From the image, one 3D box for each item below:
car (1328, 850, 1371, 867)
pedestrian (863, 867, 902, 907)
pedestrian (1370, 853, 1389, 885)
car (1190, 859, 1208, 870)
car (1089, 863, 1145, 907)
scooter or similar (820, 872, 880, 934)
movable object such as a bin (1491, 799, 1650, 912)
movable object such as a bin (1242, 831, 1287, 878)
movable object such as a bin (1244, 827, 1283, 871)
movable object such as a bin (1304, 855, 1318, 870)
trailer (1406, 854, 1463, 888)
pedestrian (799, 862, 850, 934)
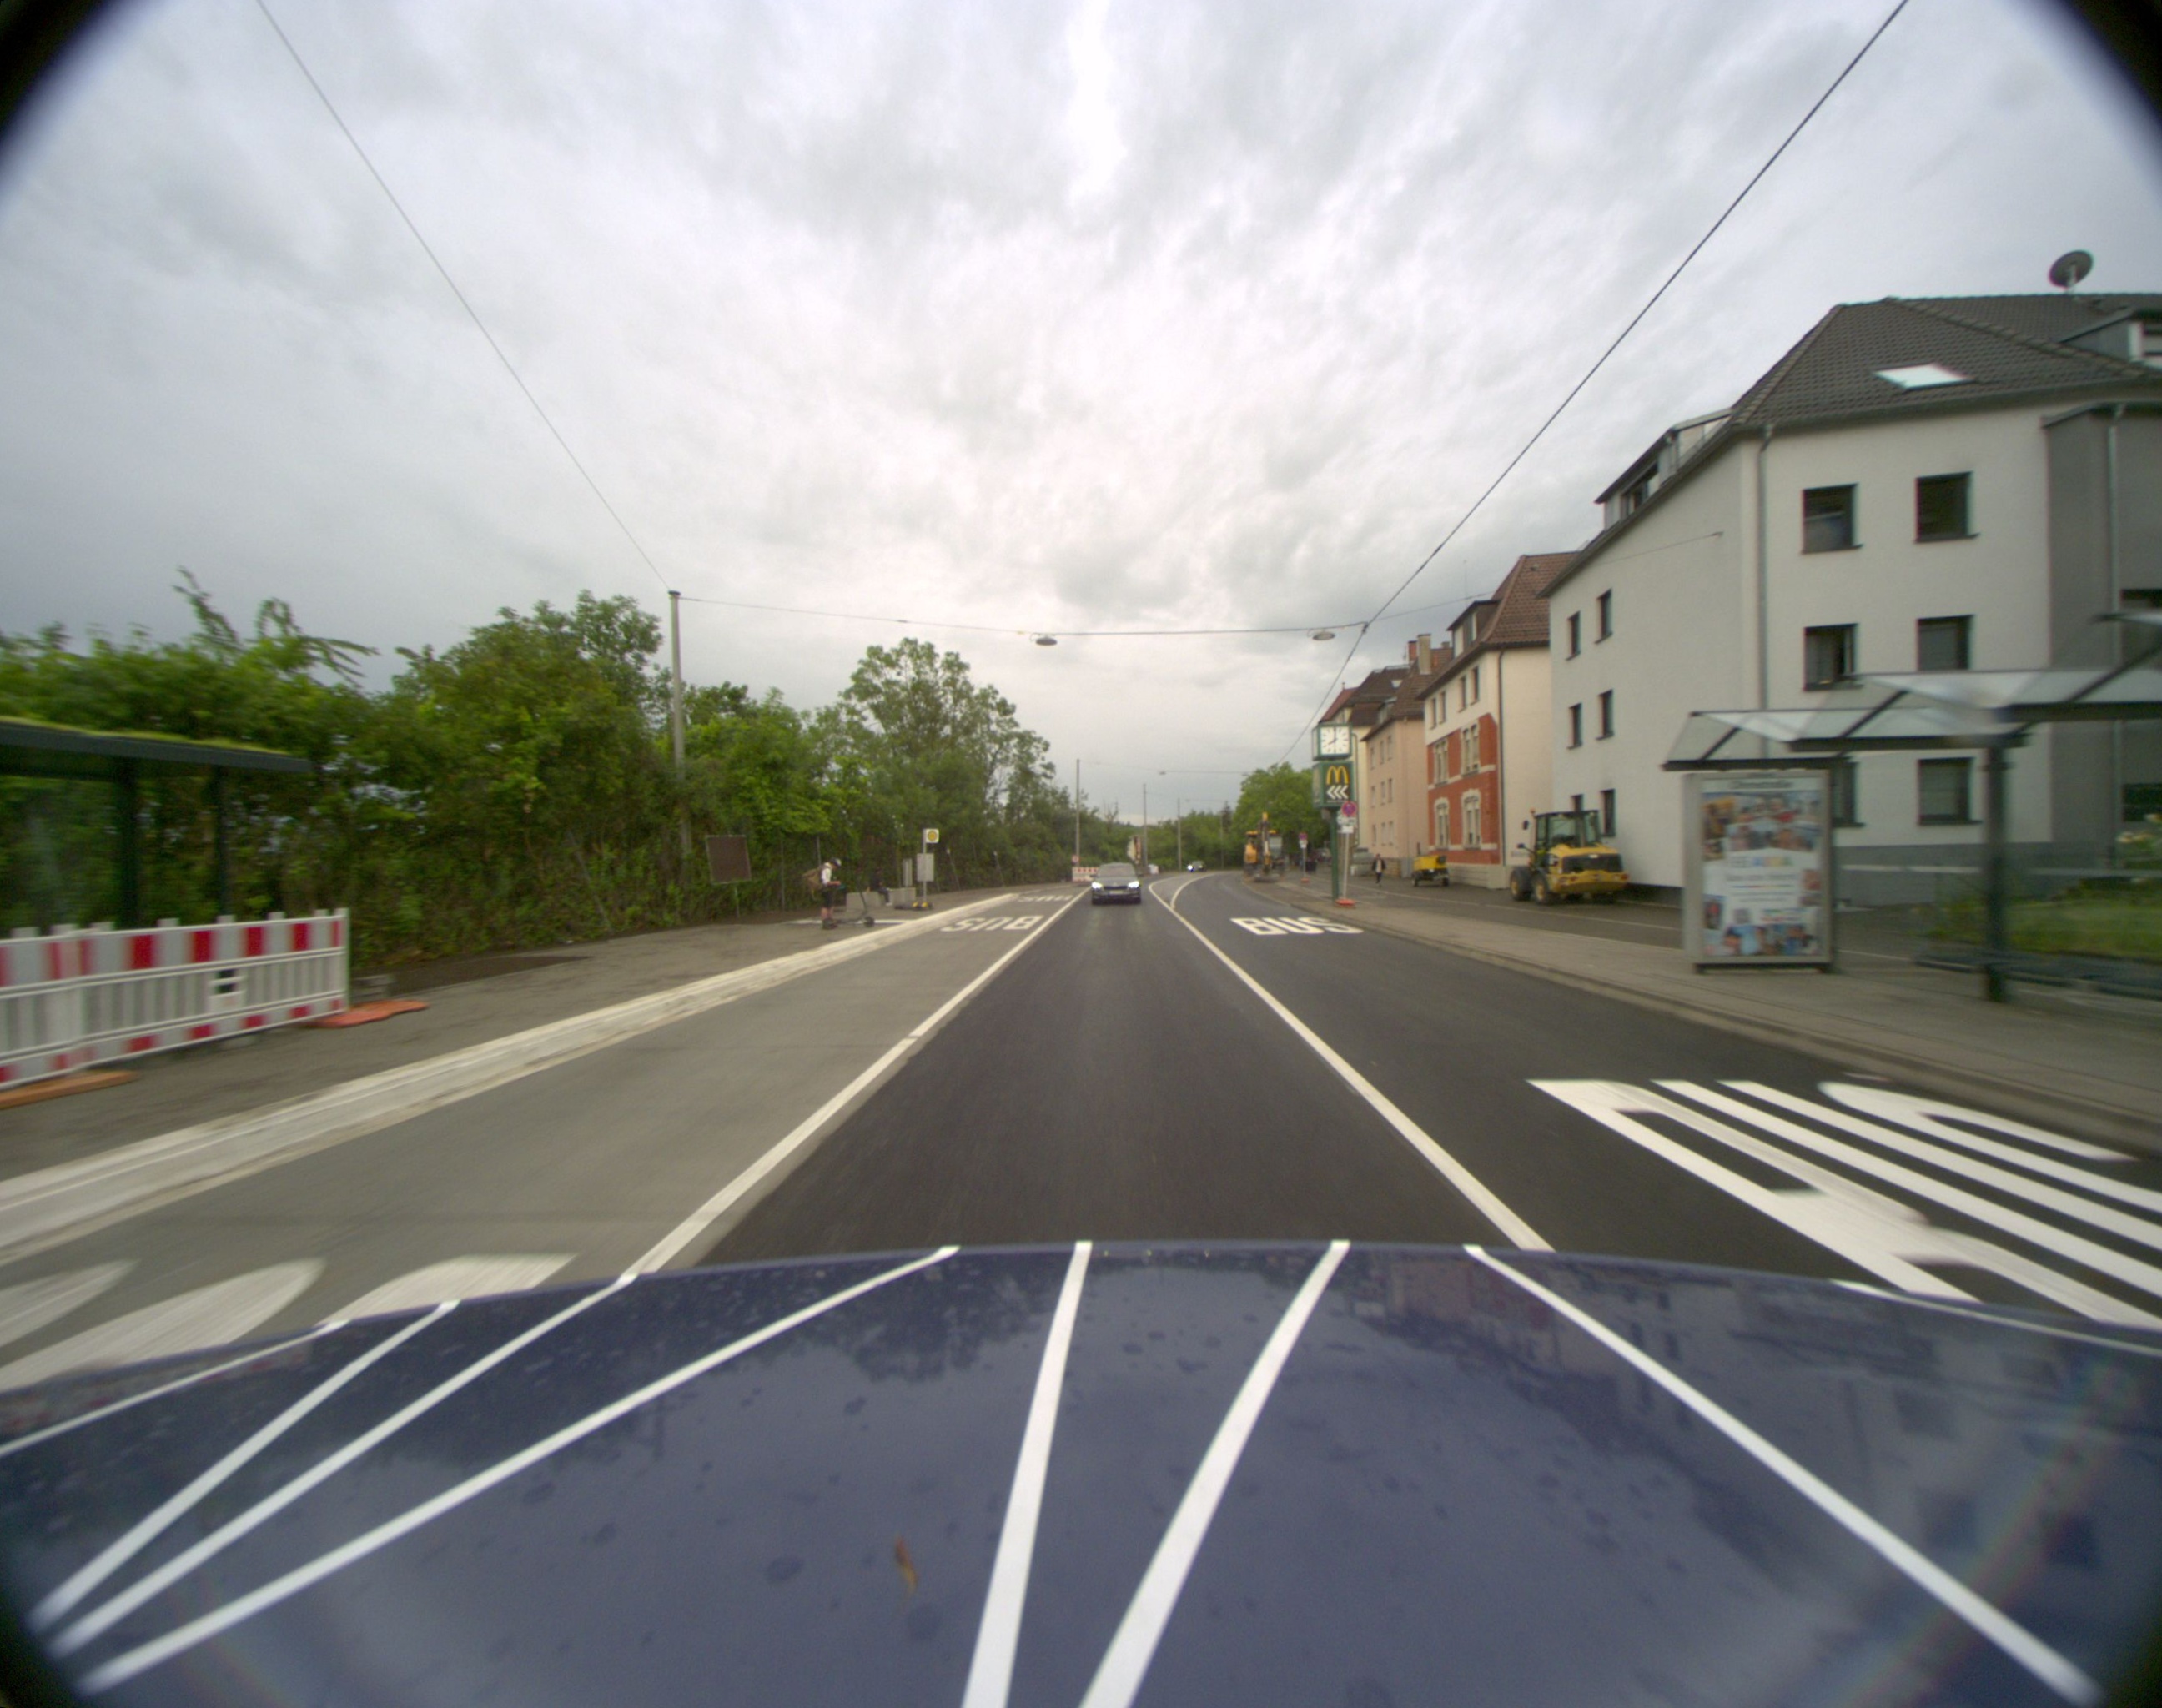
[{"bbox_3d":[27.937,0.498,79.258,3.993,1.655,1.913,-1,0,11],"label":"car"},{"bbox_3d":[-6.805,1.117,26.092,1.070,1.322,0.808,-2,1,-33],"label":"pedestrian"},{"bbox_3d":[14.453,0.728,36.810,0.603,1.519,1.039,-3,-1,9],"label":"pedestrian"},{"bbox_3d":[14.814,1.280,95.457,1.604,1.295,3.718,-3,-1,19],"label":"car"},{"bbox_3d":[1.419,1.100,28.426,1.836,1.429,4.002,-2,0,5],"label":"car"},{"bbox_3d":[-5.177,1.080,17.034,1.245,1.307,0.231,-2,1,-36],"label":"scooter or similar"},{"bbox_3d":[13.785,0.066,21.828,2.132,2.790,4.983,-3,-1,13],"label":"movable object such as a bin"},{"bbox_3d":[12.904,0.076,53.782,2.828,3.094,4.638,-1,-1,11],"label":"movable object such as a bin"},{"bbox_3d":[16.943,-0.420,70.089,2.952,3.821,8.137,-1,0,16],"label":"movable object such as a bin"},{"bbox_3d":[20.077,0.766,66.235,1.159,1.294,1.249,-1,0,16],"label":"movable object such as a bin"},{"bbox_3d":[15.509,0.718,33.524,1.326,1.390,3.999,-2,0,11],"label":"trailer"},{"bbox_3d":[-5.721,0.964,16.960,0.922,1.538,0.543,-2,1,-33],"label":"pedestrian"}]
